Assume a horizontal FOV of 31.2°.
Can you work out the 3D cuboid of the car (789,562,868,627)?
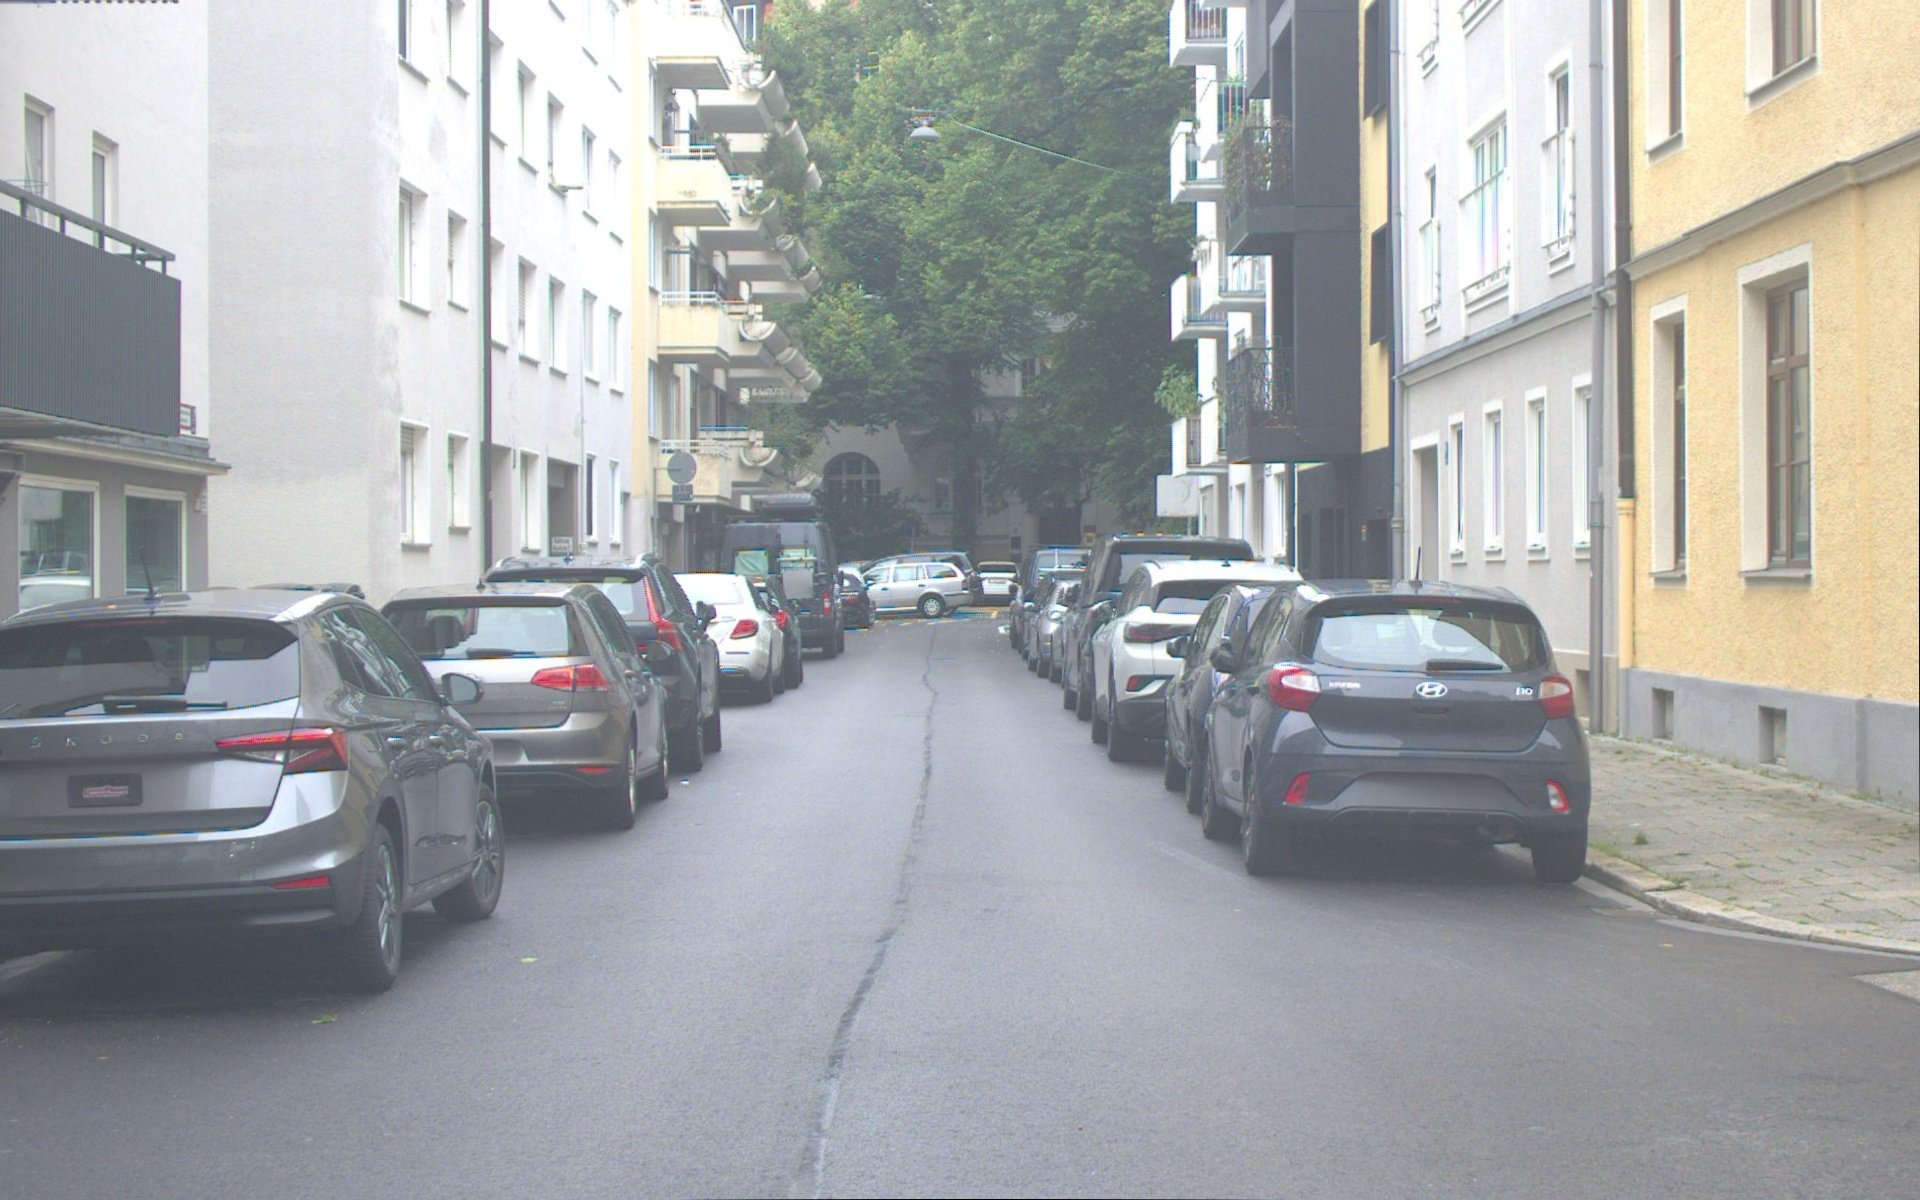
[{"bbox_3d":[-2.987,-0.149,78.602,1.642,1.379,3.483,-3,1,-1],"label":"car"}]

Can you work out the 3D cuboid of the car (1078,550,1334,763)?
[{"bbox_3d":[1.968,0.402,28.631,1.682,1.562,4.416,3,1,-1],"label":"car"}]

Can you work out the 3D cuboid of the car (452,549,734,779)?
[{"bbox_3d":[-2.801,0.435,27.080,1.776,1.623,4.415,-1,1,-1],"label":"car"}]

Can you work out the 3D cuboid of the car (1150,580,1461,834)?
[{"bbox_3d":[2.238,0.652,23.123,1.664,1.464,3.819,3,1,0],"label":"car"}]

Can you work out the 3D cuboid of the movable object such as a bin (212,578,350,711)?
[{"bbox_3d":[-7.175,0.461,36.375,1.166,1.332,1.025,-2,0,3],"label":"movable object such as a bin"}]

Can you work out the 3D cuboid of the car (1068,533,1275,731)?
[{"bbox_3d":[2.165,0.285,36.247,1.829,1.903,4.416,2,1,0],"label":"car"}]

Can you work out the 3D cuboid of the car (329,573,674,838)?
[{"bbox_3d":[-2.733,0.576,21.254,1.693,1.437,3.978,-1,1,-2],"label":"car"}]

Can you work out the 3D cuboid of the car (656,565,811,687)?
[{"bbox_3d":[-2.939,0.308,45.324,1.776,1.448,4.046,-3,1,-1],"label":"car"}]

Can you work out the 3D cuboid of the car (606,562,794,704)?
[{"bbox_3d":[-2.983,0.338,40.218,1.777,1.482,4.519,-3,1,0],"label":"car"}]

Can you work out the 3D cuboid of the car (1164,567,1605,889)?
[{"bbox_3d":[2.182,0.600,18.807,1.751,1.464,4.343,3,1,-1],"label":"car"}]

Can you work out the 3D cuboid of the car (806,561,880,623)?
[{"bbox_3d":[-2.792,-0.214,82.450,1.642,1.379,3.483,-3,1,-1],"label":"car"}]

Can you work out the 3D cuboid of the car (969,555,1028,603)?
[{"bbox_3d":[1.172,-0.669,105.704,1.642,1.379,3.746,-3,1,-1],"label":"car"}]

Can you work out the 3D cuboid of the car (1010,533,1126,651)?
[{"bbox_3d":[1.938,-0.167,62.827,1.829,1.992,4.416,3,1,-1],"label":"car"}]

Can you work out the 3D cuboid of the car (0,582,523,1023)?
[{"bbox_3d":[-2.843,0.678,13.583,1.693,1.437,3.942,-1,1,0],"label":"car"}]

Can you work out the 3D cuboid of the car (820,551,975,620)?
[{"bbox_3d":[-1.605,-0.383,88.513,3.885,1.579,1.648,-3,1,-1],"label":"car"}]

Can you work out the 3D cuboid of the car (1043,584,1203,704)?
[{"bbox_3d":[2.174,0.563,46.915,1.829,1.449,4.416,3,1,-1],"label":"car"}]

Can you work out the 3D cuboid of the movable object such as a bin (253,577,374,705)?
[{"bbox_3d":[-7.031,0.441,37.452,1.047,1.332,0.993,-2,0,3],"label":"movable object such as a bin"}]

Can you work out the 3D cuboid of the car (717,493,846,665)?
[{"bbox_3d":[-3.067,-0.376,59.869,1.936,2.792,4.533,-3,1,-1],"label":"car"}]

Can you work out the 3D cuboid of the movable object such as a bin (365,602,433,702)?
[{"bbox_3d":[-5.859,0.541,35.910,0.650,1.017,0.585,2,1,-6],"label":"movable object such as a bin"}]

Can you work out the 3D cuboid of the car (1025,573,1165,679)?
[{"bbox_3d":[2.019,0.363,52.530,1.829,1.449,4.416,3,1,-1],"label":"car"}]
